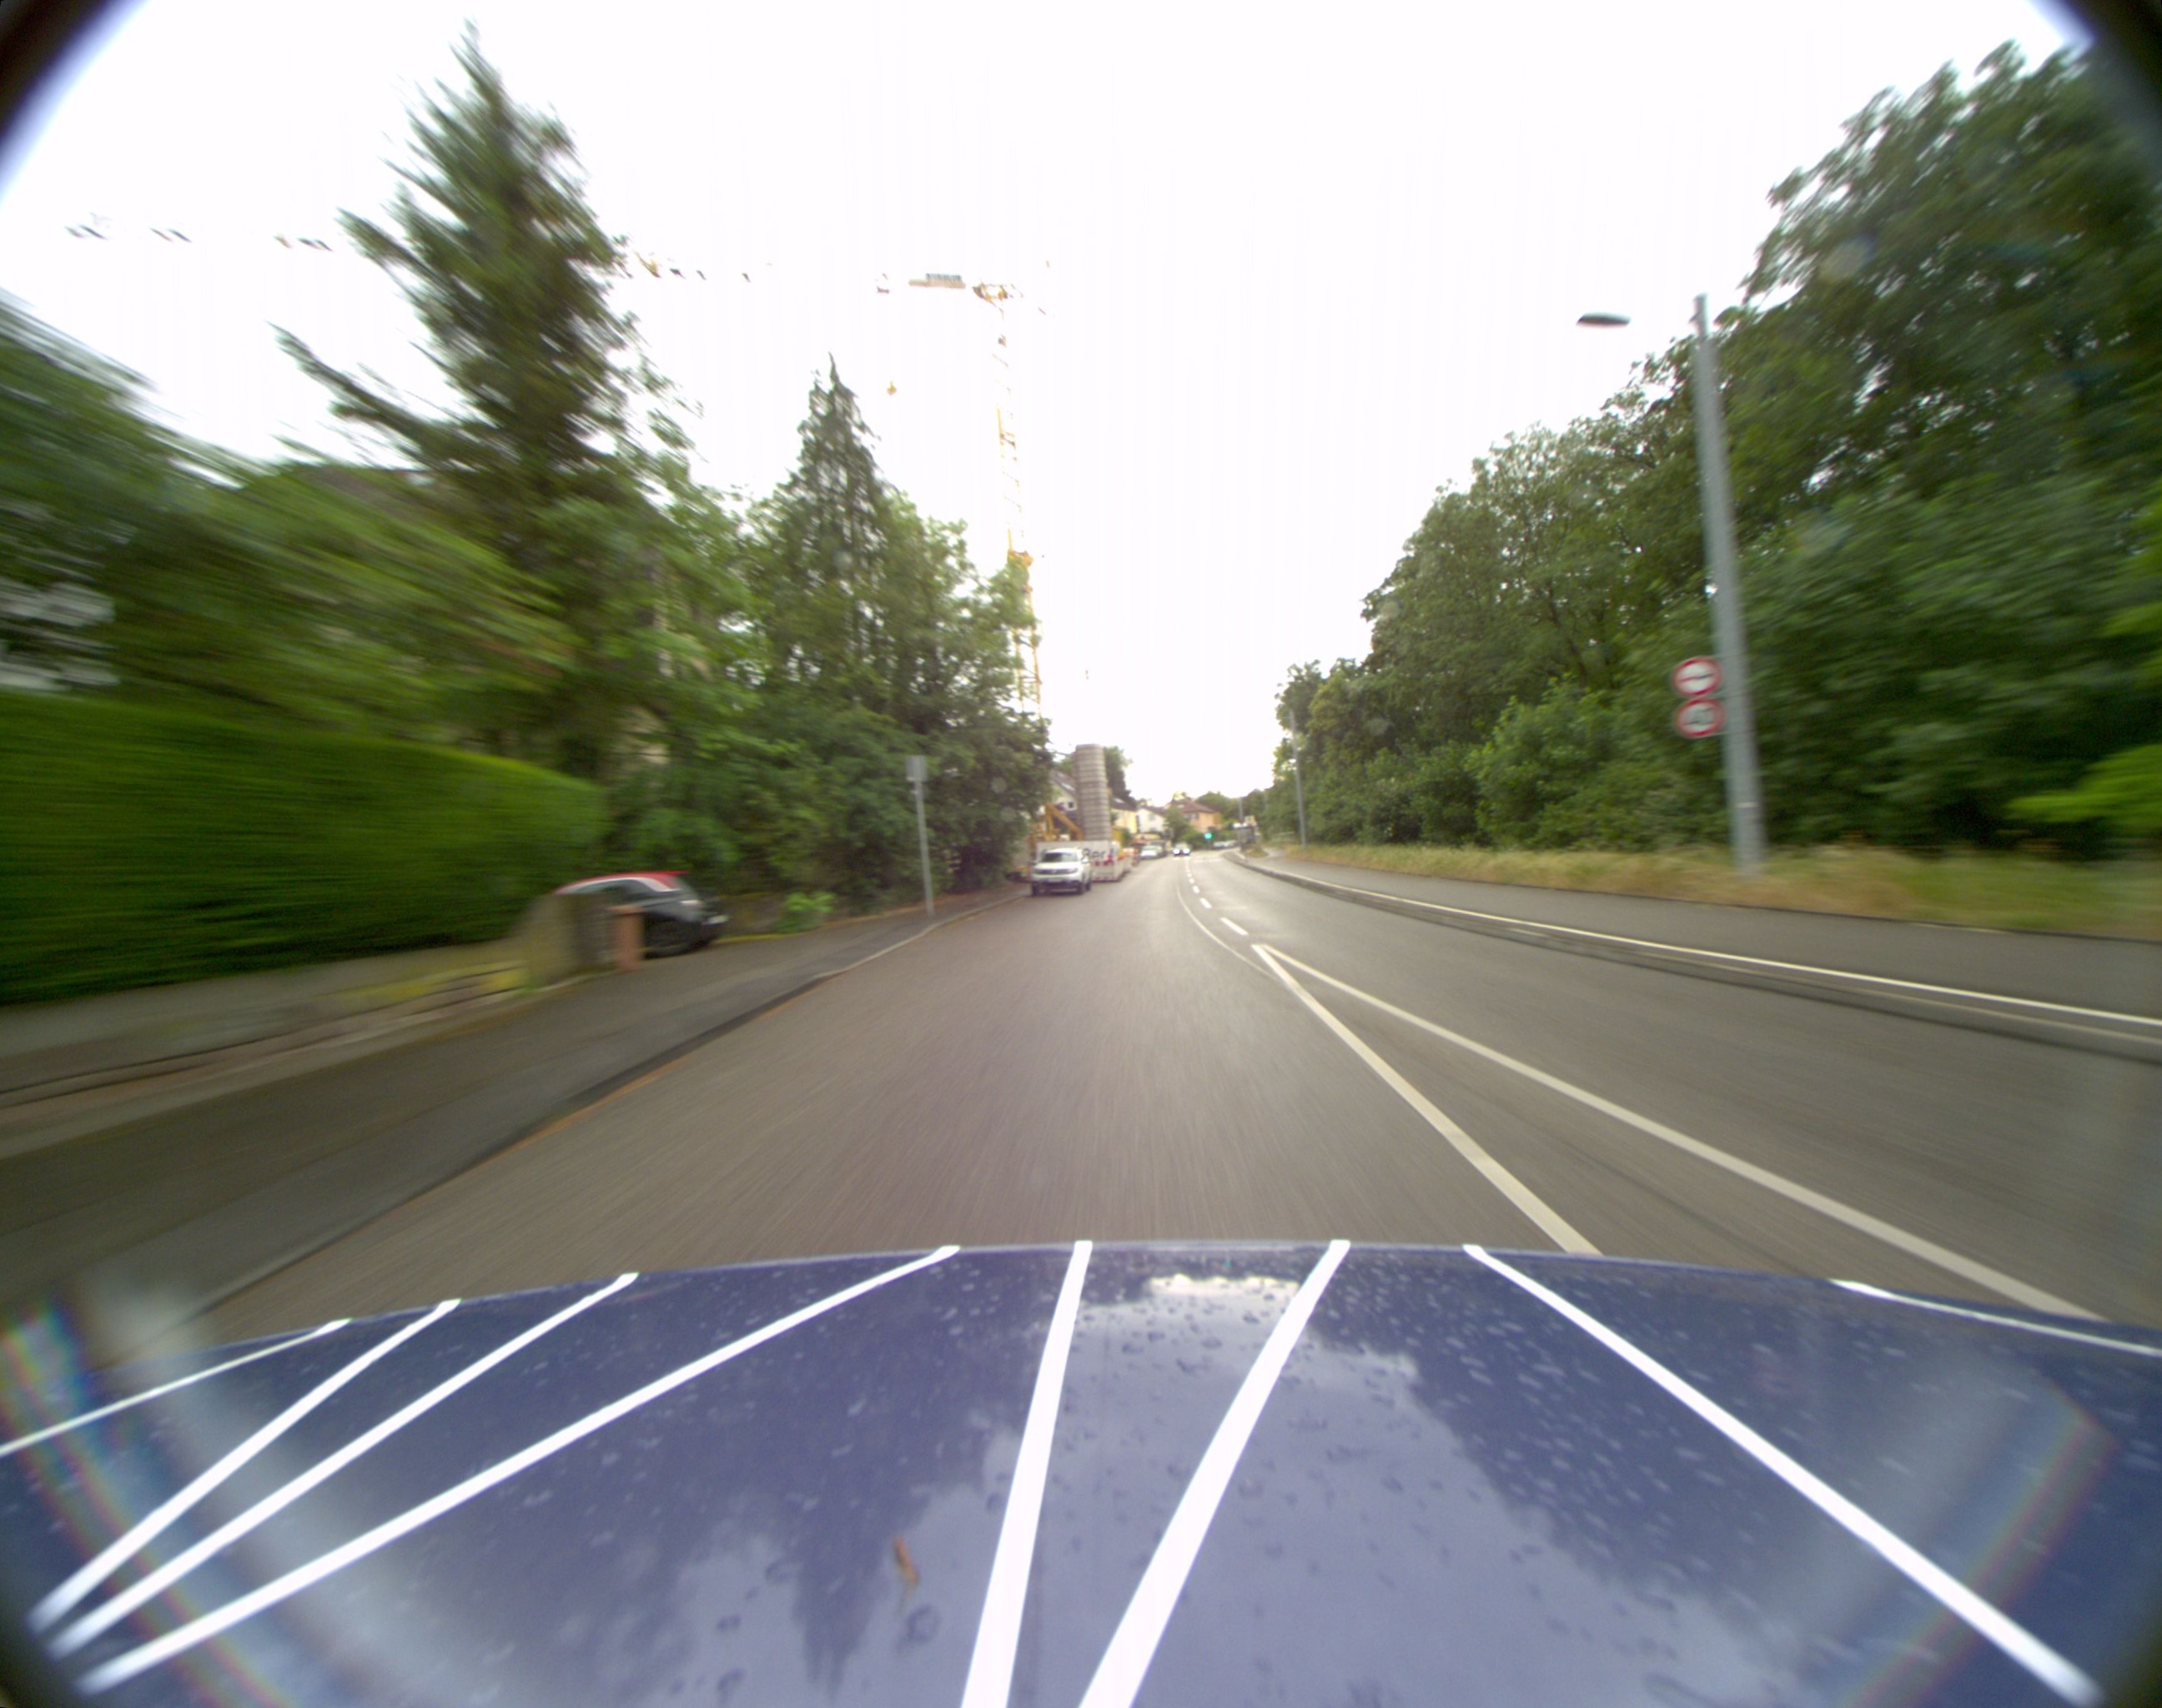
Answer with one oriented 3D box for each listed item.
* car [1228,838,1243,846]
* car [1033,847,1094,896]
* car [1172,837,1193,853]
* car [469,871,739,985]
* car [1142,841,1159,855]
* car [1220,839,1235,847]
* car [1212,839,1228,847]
[{"bbox_3d":[30.681,-2.310,150.905,1.870,1.481,4.006,-1,1,27],"label":"car"},{"bbox_3d":[-0.565,0.576,27.469,1.831,1.586,4.000,-1,1,4],"label":"car"},{"bbox_3d":[12.007,-1.041,89.715,1.997,1.707,4.003,-3,0,13],"label":"car"},{"bbox_3d":[-7.926,1.194,12.865,3.486,1.404,1.427,-6,1,-3],"label":"car"},{"bbox_3d":[7.799,-0.695,84.528,1.736,1.481,4.001,-2,1,7],"label":"car"},{"bbox_3d":[28.103,-2.156,145.517,1.870,1.481,4.006,-1,1,27],"label":"car"},{"bbox_3d":[25.771,-2.014,140.565,1.870,1.481,4.006,-1,1,27],"label":"car"}]
